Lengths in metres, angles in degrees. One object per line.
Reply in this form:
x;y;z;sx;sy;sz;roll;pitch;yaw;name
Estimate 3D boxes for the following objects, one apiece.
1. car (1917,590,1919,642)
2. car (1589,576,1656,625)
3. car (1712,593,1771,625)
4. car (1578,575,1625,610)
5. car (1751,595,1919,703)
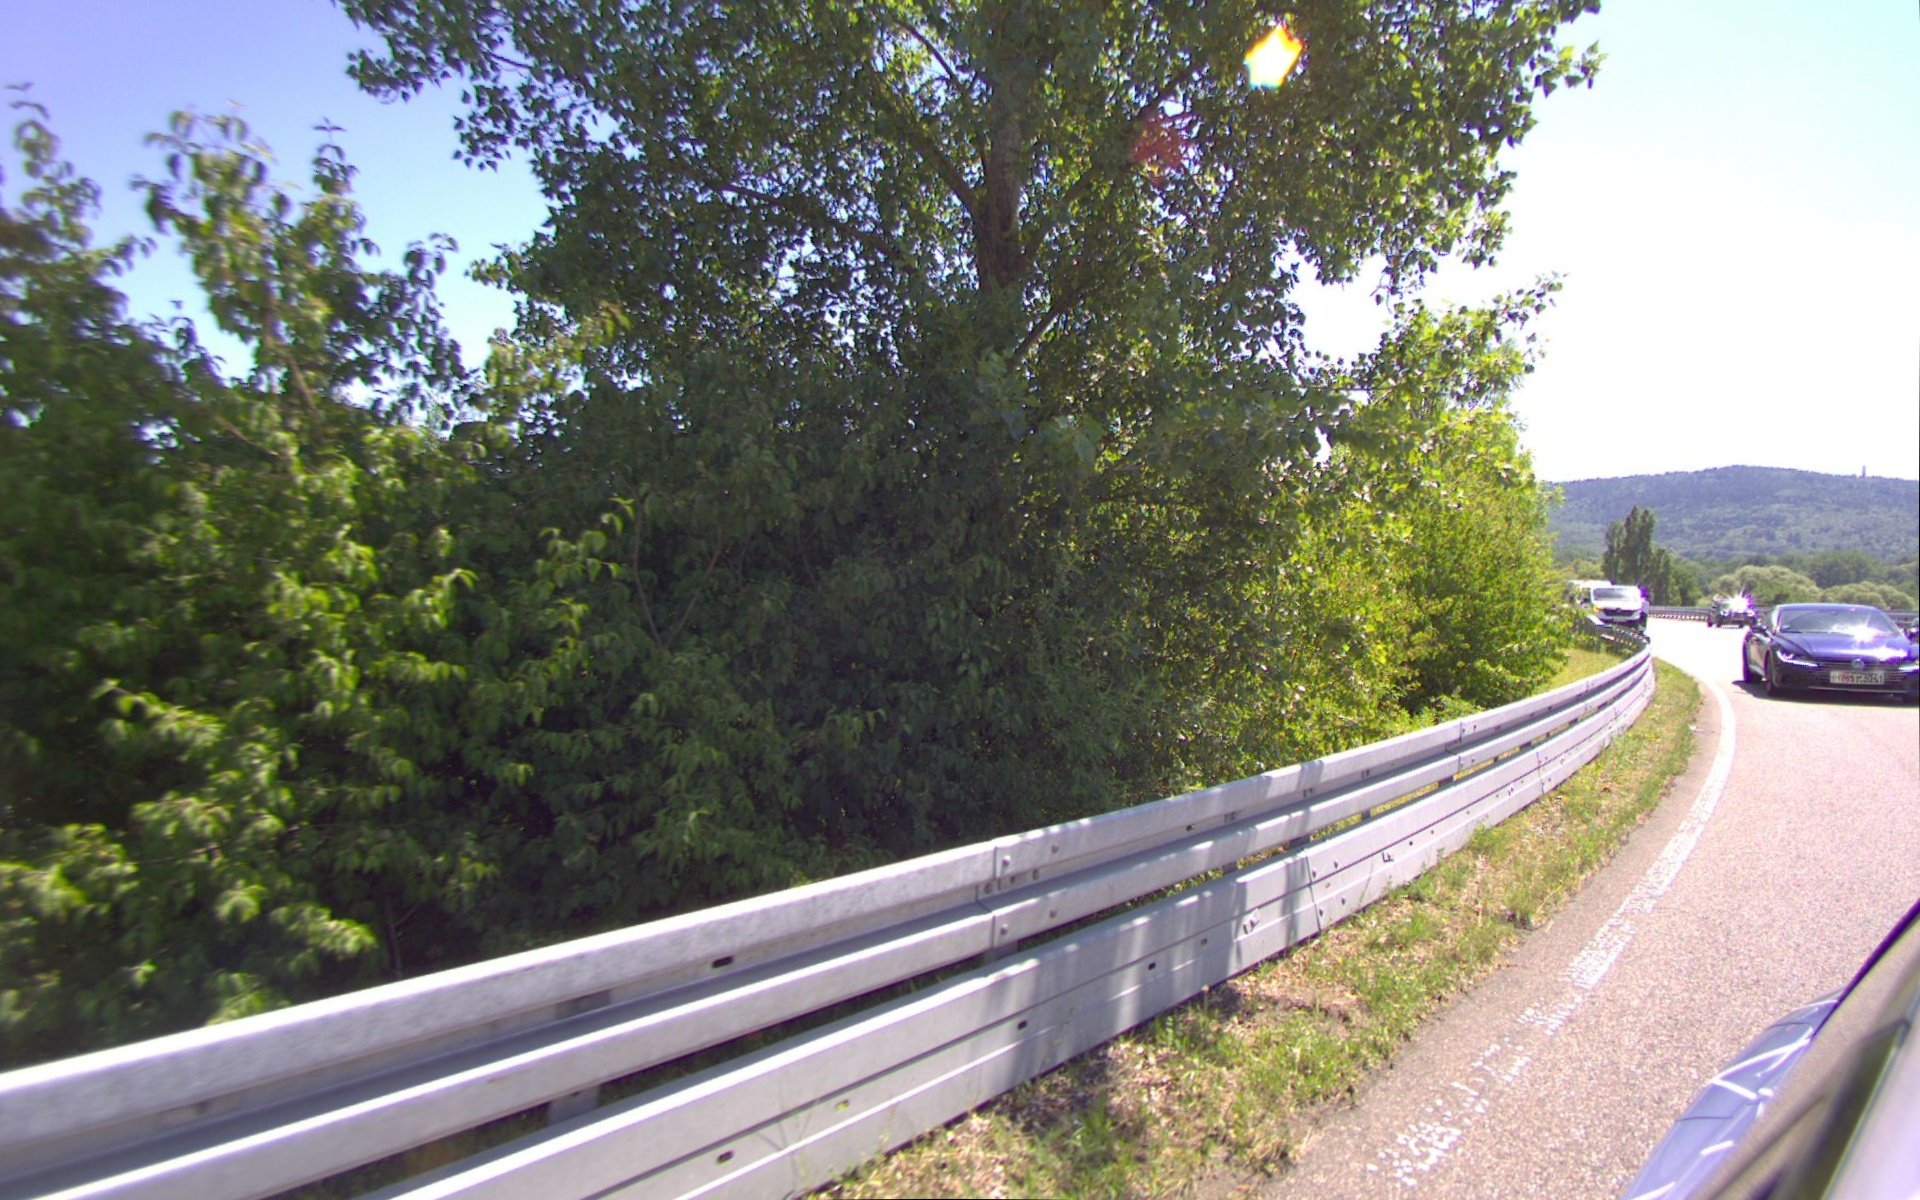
29.382;0.519;28.777;1.981;1.593;4.599;0;0;28;car
28.551;-0.002;43.731;1.981;1.975;4.599;0;0;28;car
41.873;0.479;54.308;1.814;1.632;3.961;0;0;28;car
37.523;-0.462;59.296;1.981;1.975;4.599;0;0;28;car
13.840;0.661;15.866;1.831;1.448;4.480;1;1;33;car
